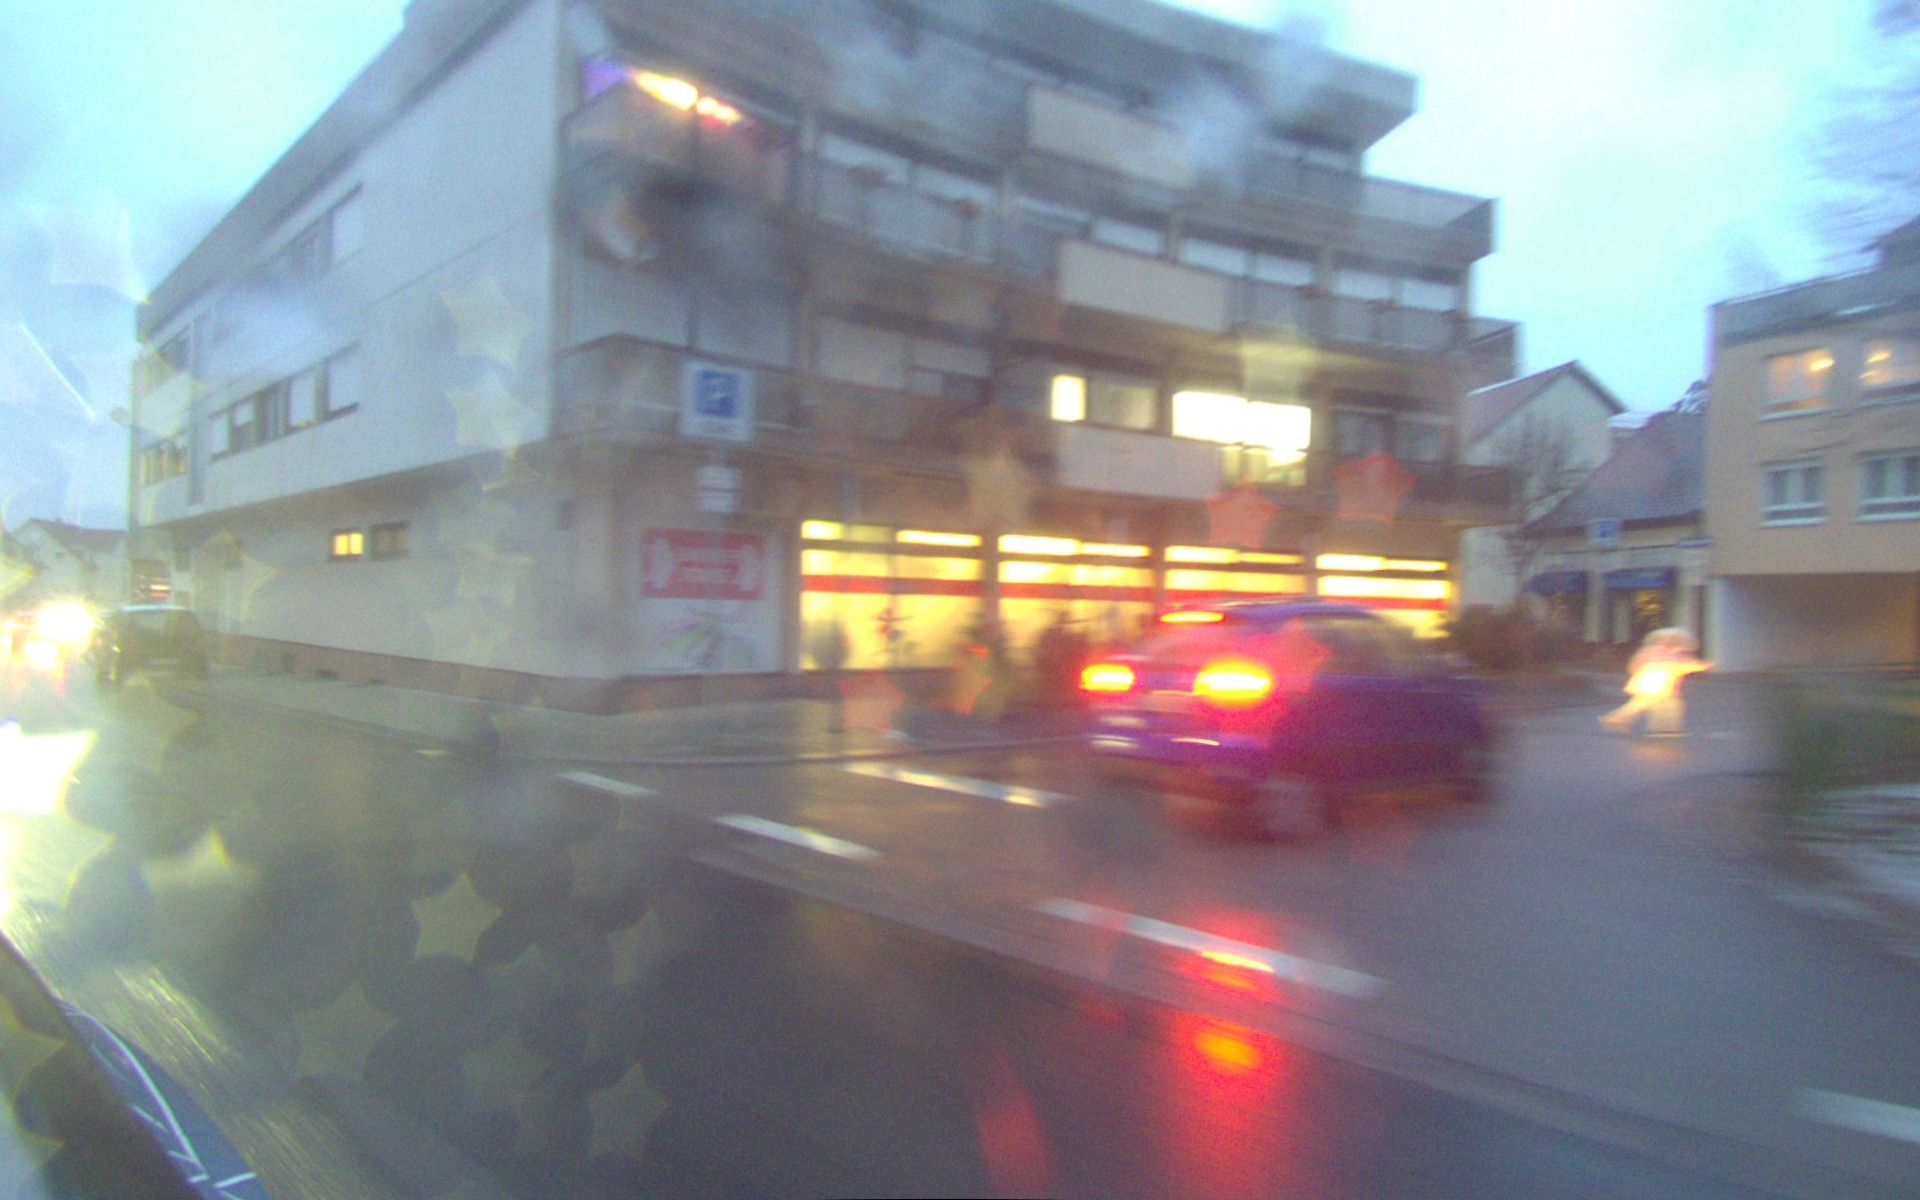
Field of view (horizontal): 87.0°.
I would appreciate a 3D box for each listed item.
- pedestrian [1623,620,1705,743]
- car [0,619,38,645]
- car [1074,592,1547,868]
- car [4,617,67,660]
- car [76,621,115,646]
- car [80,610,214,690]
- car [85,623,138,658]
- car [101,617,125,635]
[{"bbox_3d":[8.038,0.902,11.555,0.611,1.349,0.569,1,-2,-35],"label":"pedestrian"},{"bbox_3d":[-63.125,2.121,67.432,1.892,1.630,3.878,0,-1,-34],"label":"car"},{"bbox_3d":[2.538,0.747,7.141,3.255,1.519,1.506,1,-2,-35],"label":"car"},{"bbox_3d":[-39.212,1.597,42.989,1.865,1.692,4.005,0,-1,-42],"label":"car"},{"bbox_3d":[-52.347,2.012,61.326,1.751,1.460,3.833,0,-1,-40],"label":"car"},{"bbox_3d":[-18.378,1.070,22.820,3.828,1.629,1.874,-1,-1,44],"label":"car"},{"bbox_3d":[-38.171,1.782,45.559,1.751,1.460,3.833,0,-1,-40],"label":"car"},{"bbox_3d":[-96.727,2.943,115.559,1.808,2.029,3.709,0,-1,-35],"label":"car"}]
